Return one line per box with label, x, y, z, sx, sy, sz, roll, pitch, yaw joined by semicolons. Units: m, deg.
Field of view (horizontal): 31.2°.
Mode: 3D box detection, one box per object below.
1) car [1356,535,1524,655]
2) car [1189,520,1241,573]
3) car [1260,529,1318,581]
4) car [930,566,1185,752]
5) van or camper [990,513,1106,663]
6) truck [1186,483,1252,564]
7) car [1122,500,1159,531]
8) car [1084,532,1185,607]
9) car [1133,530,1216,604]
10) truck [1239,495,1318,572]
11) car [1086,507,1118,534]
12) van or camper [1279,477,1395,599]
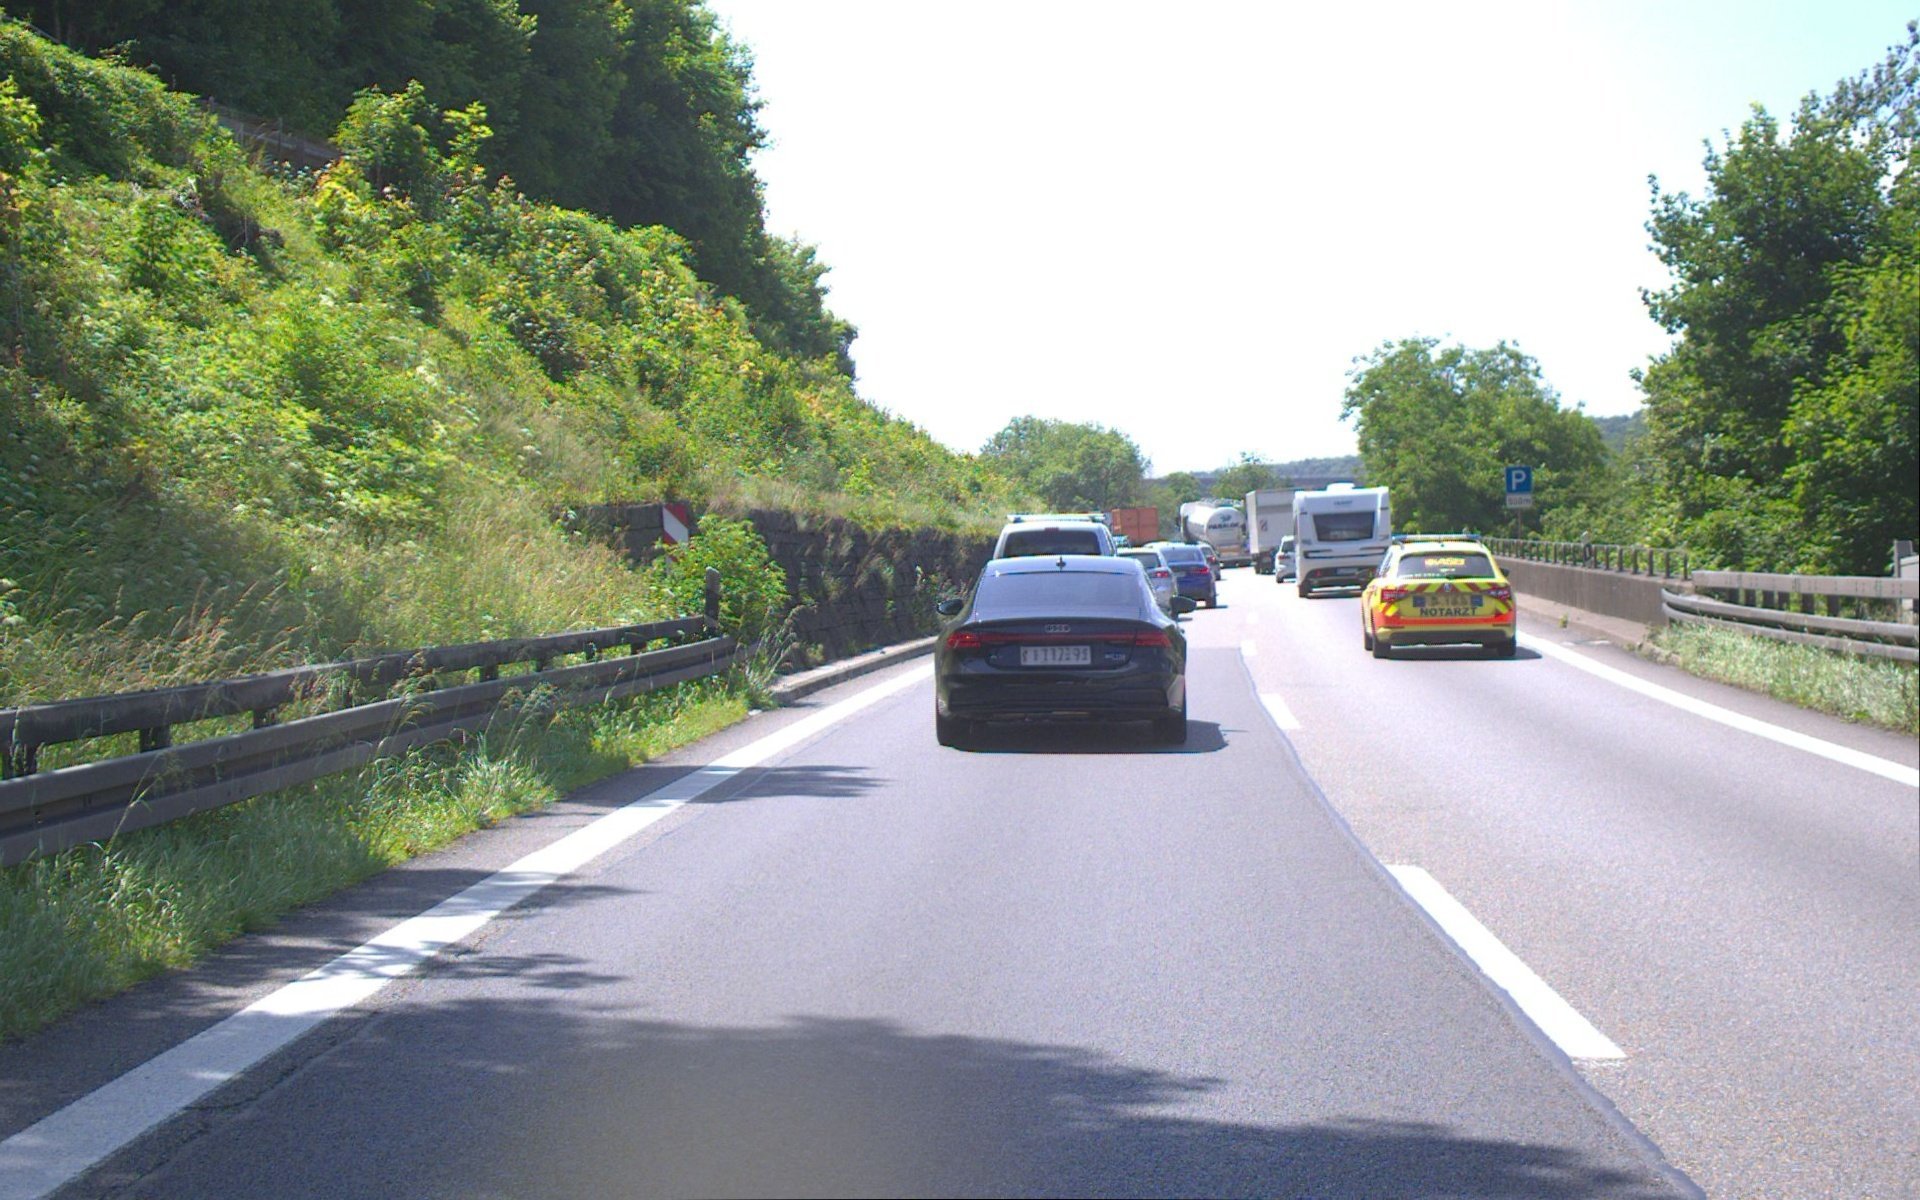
car;6.147;-0.068;44.380;1.863;1.483;3.999;0;0;4
car;10.075;-2.118;135.607;1.994;2.057;3.999;1;1;5
car;11.039;-1.529;115.474;1.841;1.711;4.000;1;1;4
car;0.828;0.420;26.790;1.838;1.345;3.999;0;0;4
van or camper;1.083;-0.152;43.554;1.391;1.809;4.000;0;0;1
truck;13.336;-3.933;177.587;2.732;4.082;7.480;0;1;0
car;12.077;-5.650;230.459;1.993;2.007;4.001;-1;1;-4
car;3.453;-0.588;67.435;1.747;1.426;3.999;0;0;6
car;4.878;-0.783;78.553;1.773;1.631;4.000;0;1;2
truck;13.263;-2.790;143.603;2.841;3.120;7.479;0;1;2
car;10.567;-5.935;256.204;1.993;2.007;4.001;-1;1;-4
van or camper;9.321;-1.488;85.406;2.456;2.908;6.125;0;0;2
